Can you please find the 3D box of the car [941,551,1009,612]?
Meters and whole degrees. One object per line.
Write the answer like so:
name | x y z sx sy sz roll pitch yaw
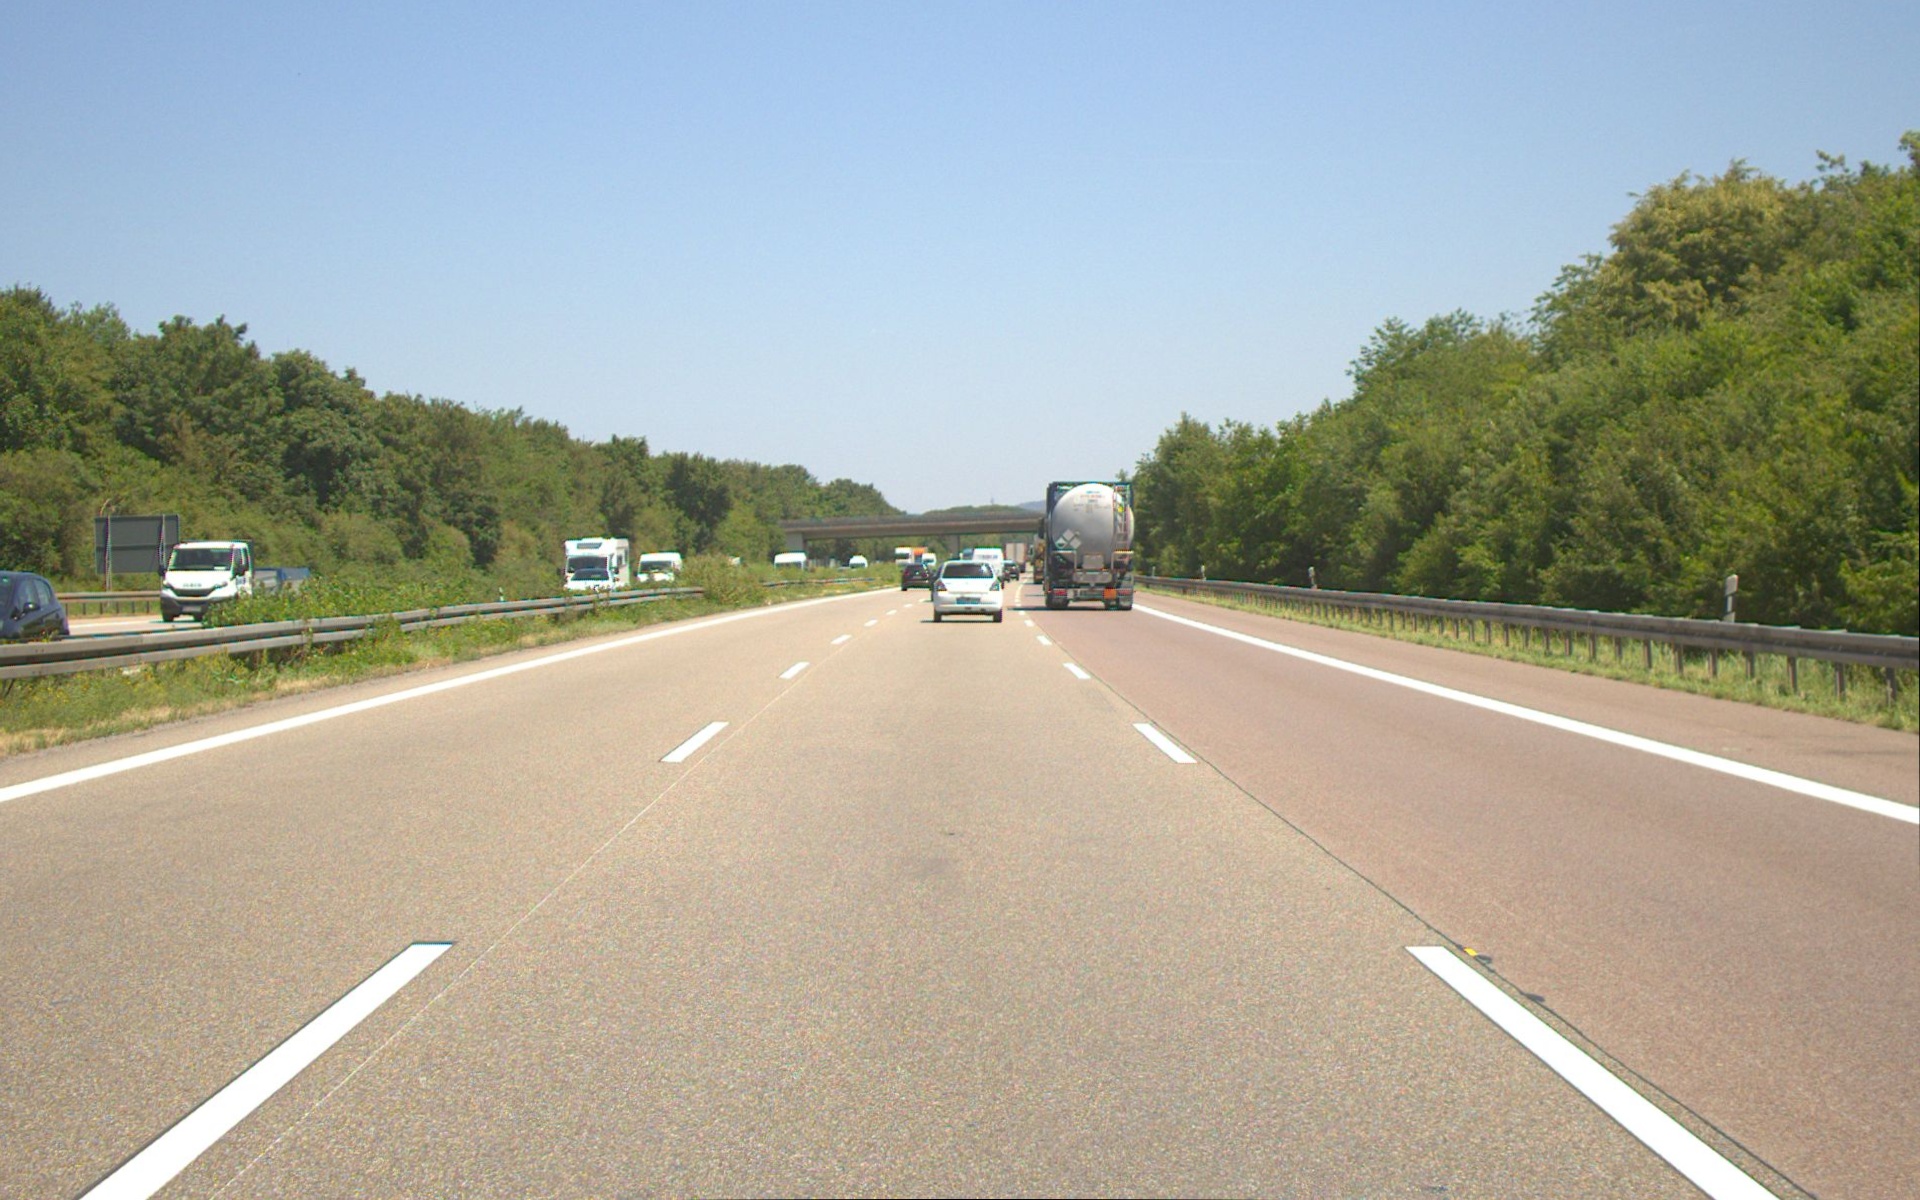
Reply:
car | 0.343 -0.467 84.692 1.627 1.474 4.000 0 1 0

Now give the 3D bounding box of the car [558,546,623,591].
car | -13.472 -1.165 125.503 1.812 1.590 5.010 0 1 0

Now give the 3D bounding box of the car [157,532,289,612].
car | -20.670 -0.807 96.690 2.244 2.165 6.541 0 1 0

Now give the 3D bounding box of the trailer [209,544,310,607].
trailer | -21.040 -0.755 103.446 2.028 1.830 4.990 0 1 0

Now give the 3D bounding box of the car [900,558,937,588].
car | -2.360 -1.557 198.412 1.993 1.719 4.786 0 1 1

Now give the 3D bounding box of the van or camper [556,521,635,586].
van or camper | -16.306 -2.071 154.144 2.513 2.839 8.026 0 1 1

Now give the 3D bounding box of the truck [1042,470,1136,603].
truck | 4.041 -1.979 109.456 2.739 4.038 10.454 0 1 1

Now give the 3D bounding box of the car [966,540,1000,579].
car | 1.437 -2.504 210.932 1.993 2.335 4.387 0 1 2

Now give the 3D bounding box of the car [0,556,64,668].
car | -12.921 0.137 45.240 1.374 1.422 3.456 0 1 0
